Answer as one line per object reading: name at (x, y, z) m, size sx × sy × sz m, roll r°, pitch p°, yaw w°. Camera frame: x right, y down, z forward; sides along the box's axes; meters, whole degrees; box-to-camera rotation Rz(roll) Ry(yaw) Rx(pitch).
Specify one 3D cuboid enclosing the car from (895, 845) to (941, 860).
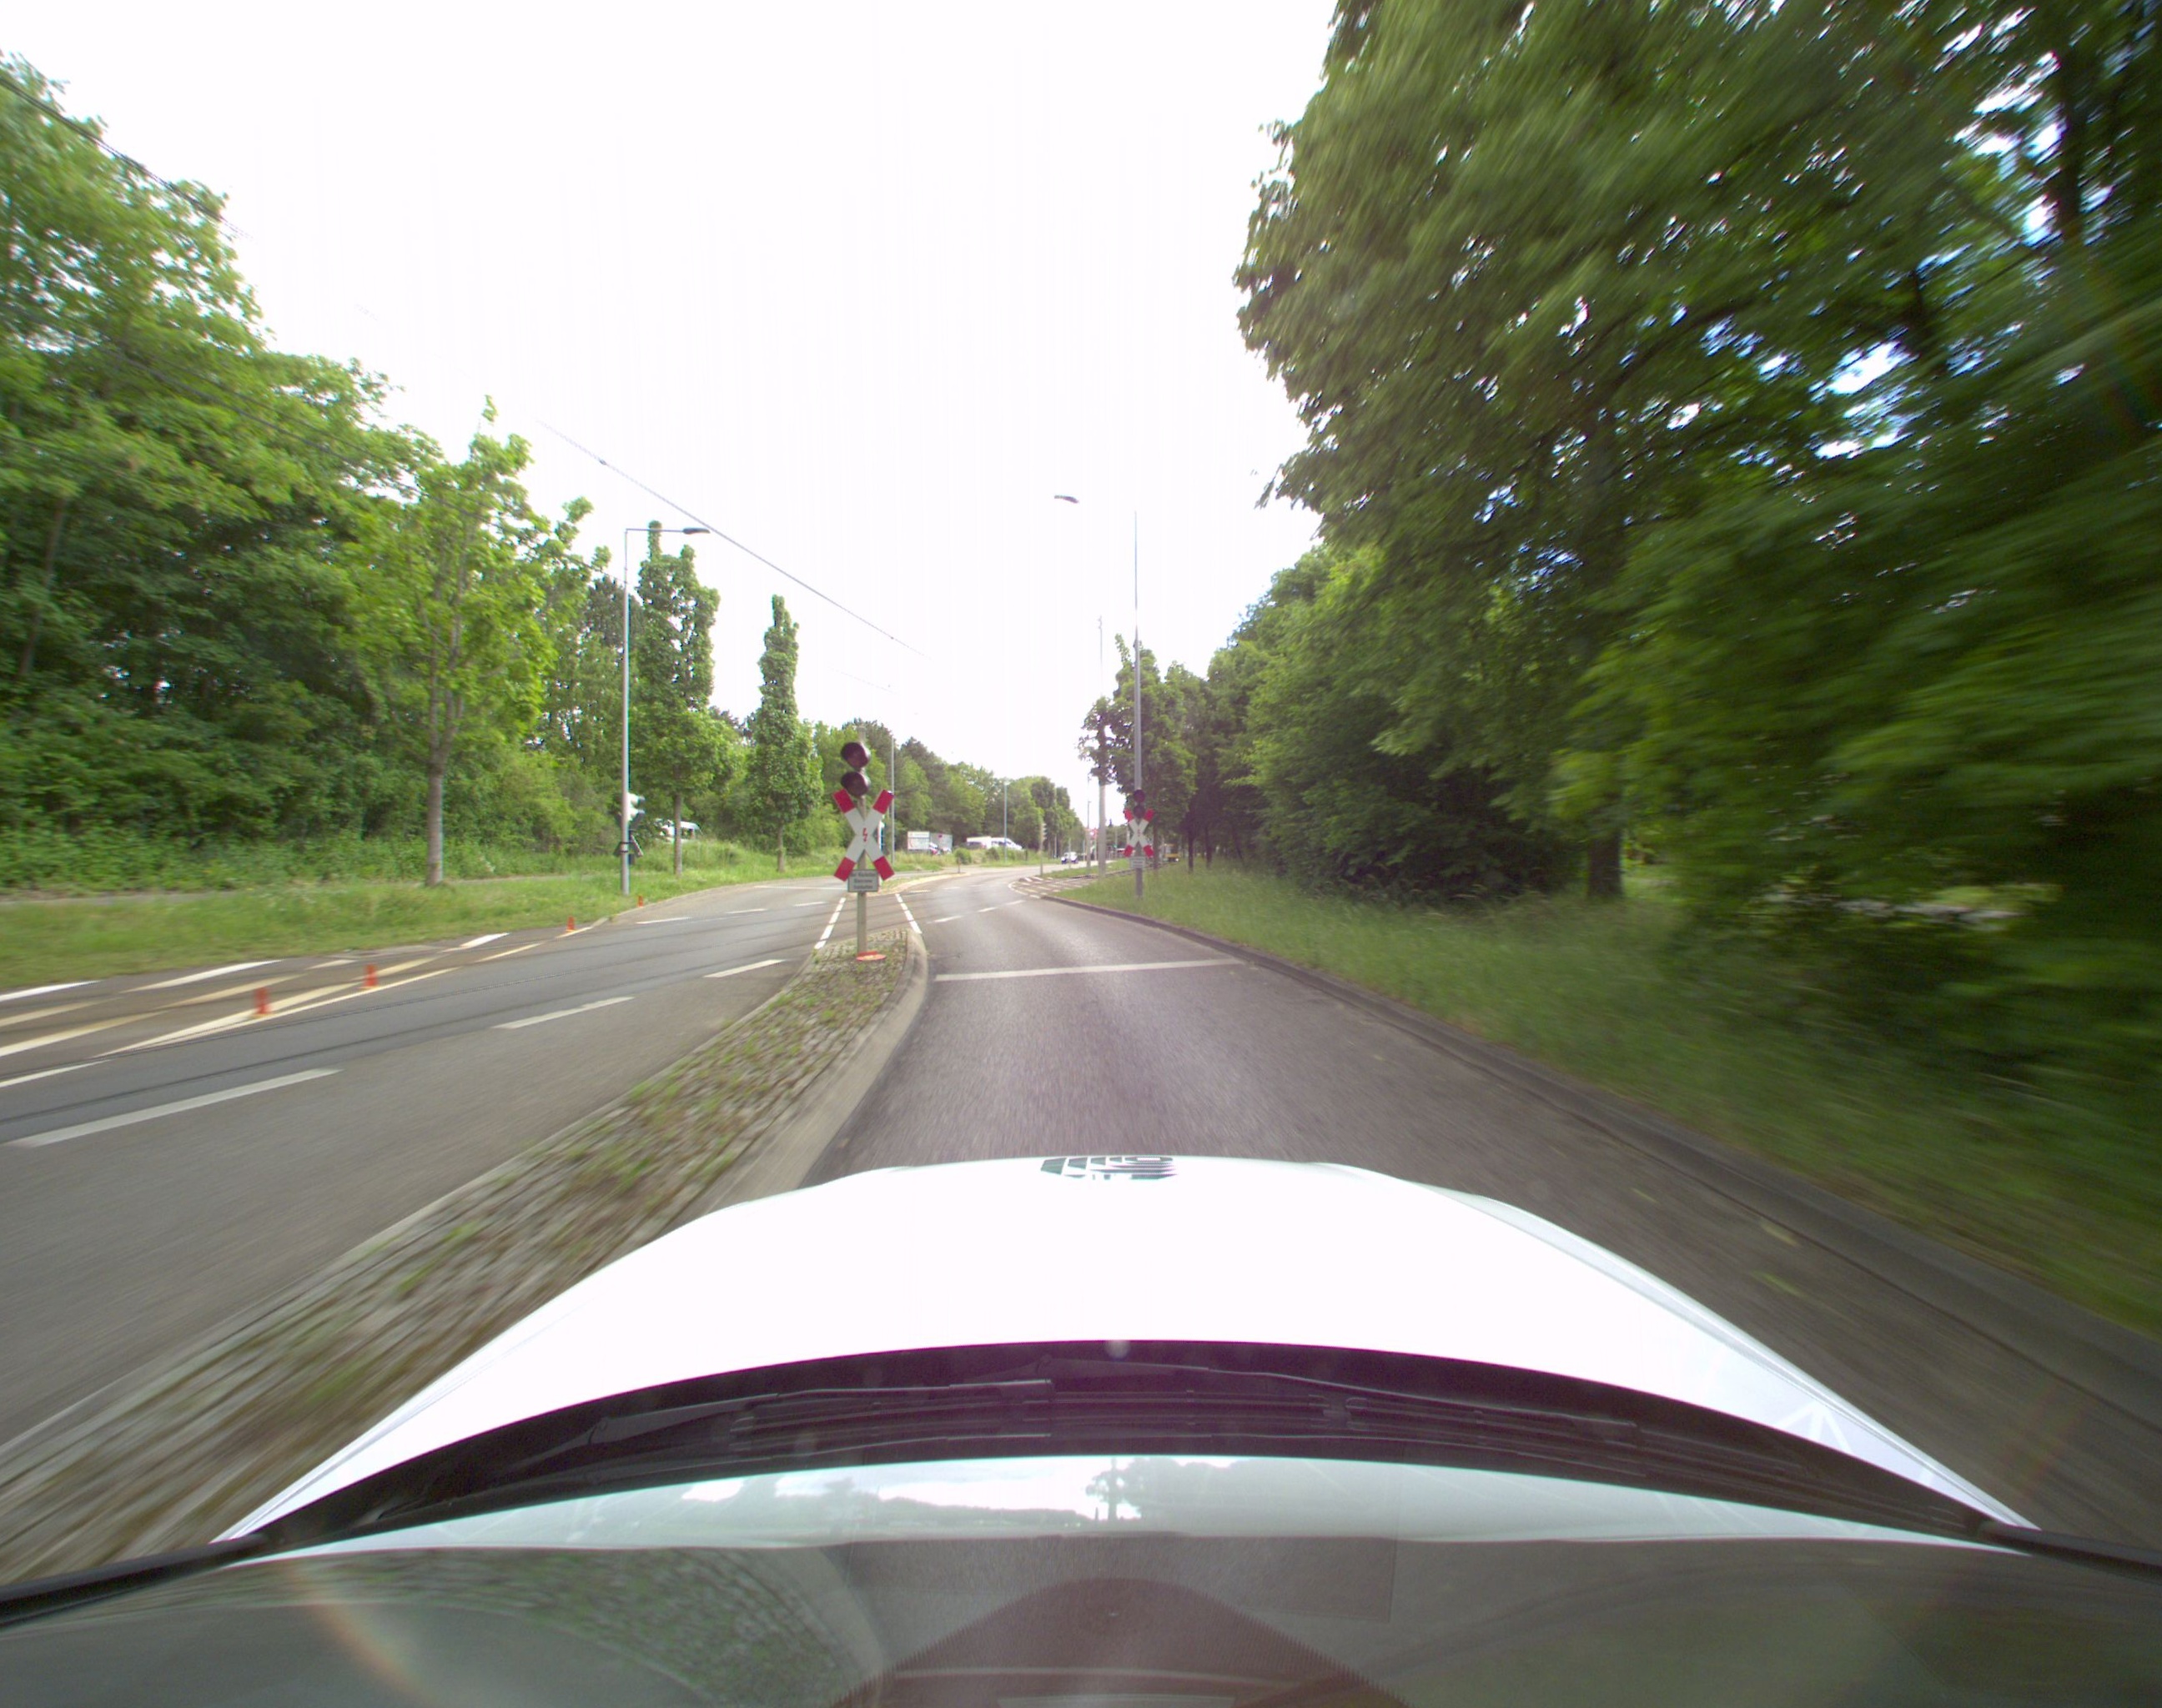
car at (-15.638, -0.124, 78.292) m, size 3.937 × 1.397 × 2.002 m, roll 0°, pitch 1°, yaw 4°

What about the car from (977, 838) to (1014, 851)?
car at (-11.586, -1.303, 110.652) m, size 4.610 × 1.656 × 2.007 m, roll 0°, pitch 0°, yaw 13°

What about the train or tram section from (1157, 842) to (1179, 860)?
train or tram section at (17.976, -0.630, 170.161) m, size 2.995 × 3.310 × 34.744 m, roll 1°, pitch 0°, yaw 4°

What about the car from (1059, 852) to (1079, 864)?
car at (-1.466, 0.465, 102.685) m, size 1.983 × 1.438 × 4.433 m, roll -1°, pitch 0°, yaw 6°

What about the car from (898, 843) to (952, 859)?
car at (-15.924, -0.325, 83.312) m, size 4.902 × 1.585 × 2.210 m, roll 0°, pitch 0°, yaw 5°

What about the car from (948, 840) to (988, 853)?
car at (-13.264, -0.917, 95.778) m, size 4.294 × 1.448 × 1.837 m, roll -1°, pitch 0°, yaw 2°

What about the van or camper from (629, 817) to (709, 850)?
van or camper at (-24.774, -1.207, 49.215) m, size 1.982 × 1.877 × 4.641 m, roll 0°, pitch 1°, yaw 8°

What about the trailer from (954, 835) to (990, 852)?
trailer at (-13.235, -1.274, 98.843) m, size 3.963 × 2.013 × 1.913 m, roll 0°, pitch 0°, yaw 9°

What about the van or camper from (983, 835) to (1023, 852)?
van or camper at (-10.819, -1.485, 113.122) m, size 5.306 × 2.202 × 2.003 m, roll 1°, pitch 1°, yaw 6°
